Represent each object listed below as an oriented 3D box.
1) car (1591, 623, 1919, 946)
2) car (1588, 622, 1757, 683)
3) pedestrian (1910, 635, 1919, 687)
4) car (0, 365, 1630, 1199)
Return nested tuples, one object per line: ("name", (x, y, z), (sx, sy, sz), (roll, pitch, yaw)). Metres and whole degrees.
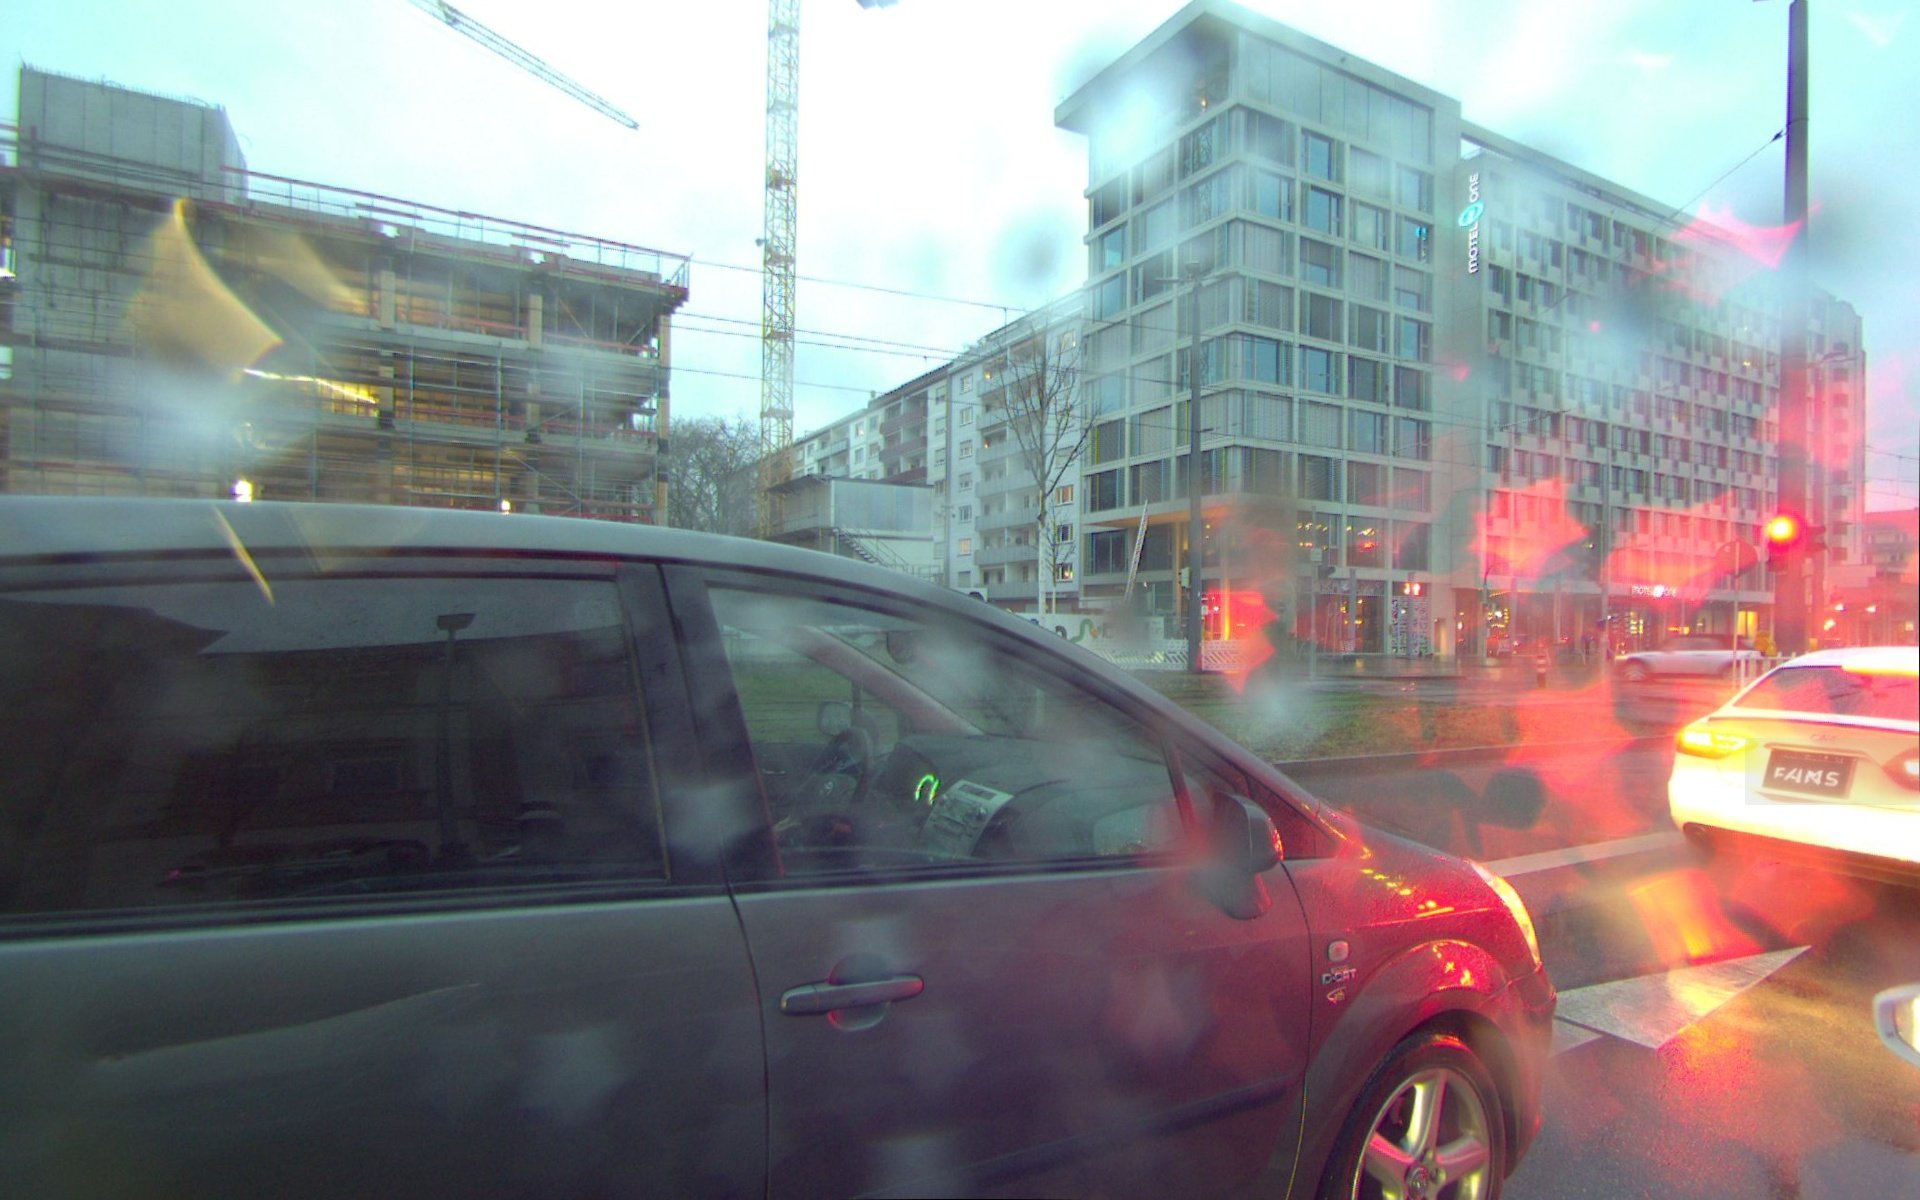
("car", (6.072, 0.920, 6.241), (4.320, 1.475, 1.983), (1, 0, -32))
("car", (20.408, 1.465, 28.857), (1.616, 1.497, 3.655), (2, 0, -41))
("pedestrian", (32.811, 2.087, 34.057), (0.808, 1.734, 0.782), (2, 0, -45))
("car", (-0.554, 0.643, 2.147), (4.089, 1.668, 1.801), (1, 0, -32))
